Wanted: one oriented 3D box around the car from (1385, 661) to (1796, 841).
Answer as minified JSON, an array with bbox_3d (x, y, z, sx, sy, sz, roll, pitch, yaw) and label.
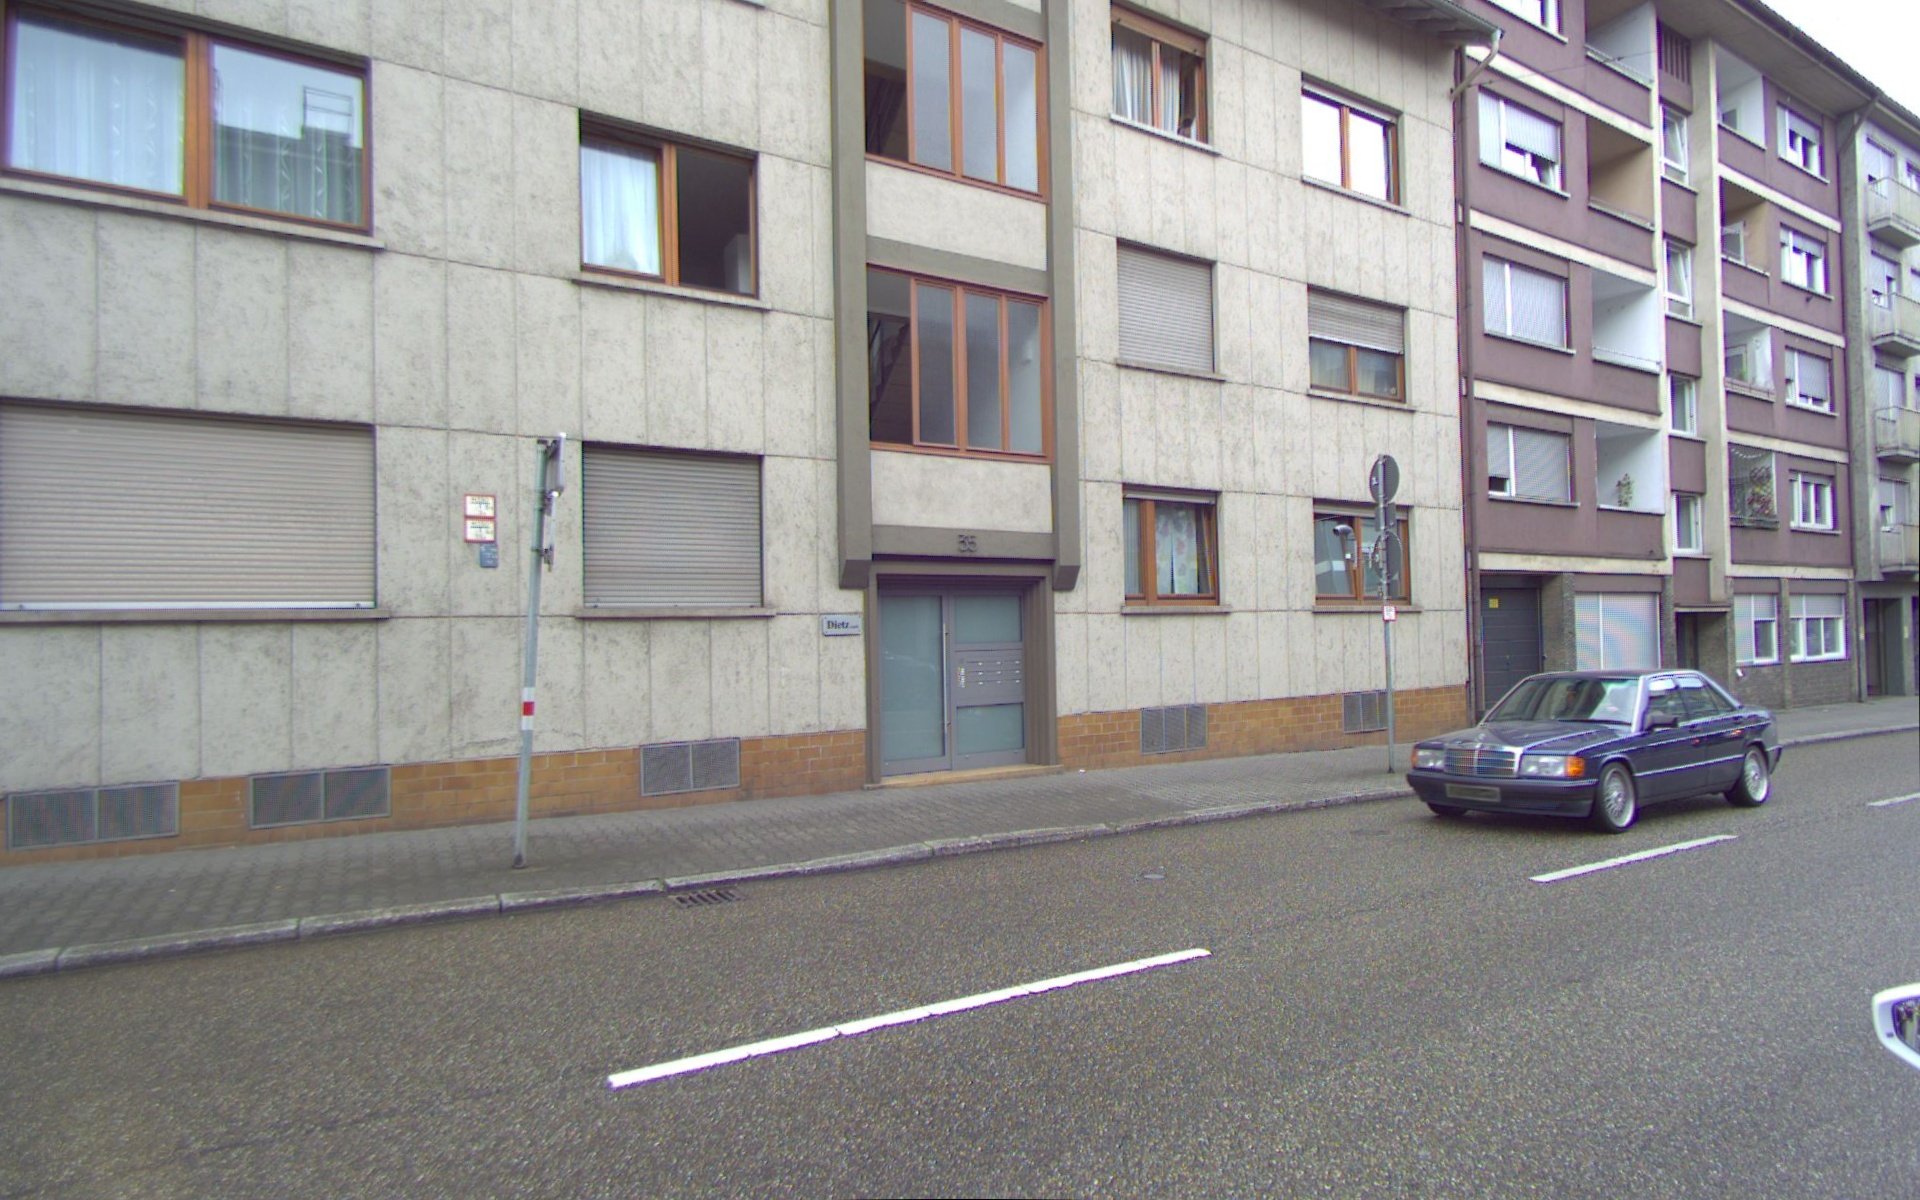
[{"bbox_3d":[6.224,1.329,9.788,4.313,1.388,1.591,2,-5,-31],"label":"car"}]
